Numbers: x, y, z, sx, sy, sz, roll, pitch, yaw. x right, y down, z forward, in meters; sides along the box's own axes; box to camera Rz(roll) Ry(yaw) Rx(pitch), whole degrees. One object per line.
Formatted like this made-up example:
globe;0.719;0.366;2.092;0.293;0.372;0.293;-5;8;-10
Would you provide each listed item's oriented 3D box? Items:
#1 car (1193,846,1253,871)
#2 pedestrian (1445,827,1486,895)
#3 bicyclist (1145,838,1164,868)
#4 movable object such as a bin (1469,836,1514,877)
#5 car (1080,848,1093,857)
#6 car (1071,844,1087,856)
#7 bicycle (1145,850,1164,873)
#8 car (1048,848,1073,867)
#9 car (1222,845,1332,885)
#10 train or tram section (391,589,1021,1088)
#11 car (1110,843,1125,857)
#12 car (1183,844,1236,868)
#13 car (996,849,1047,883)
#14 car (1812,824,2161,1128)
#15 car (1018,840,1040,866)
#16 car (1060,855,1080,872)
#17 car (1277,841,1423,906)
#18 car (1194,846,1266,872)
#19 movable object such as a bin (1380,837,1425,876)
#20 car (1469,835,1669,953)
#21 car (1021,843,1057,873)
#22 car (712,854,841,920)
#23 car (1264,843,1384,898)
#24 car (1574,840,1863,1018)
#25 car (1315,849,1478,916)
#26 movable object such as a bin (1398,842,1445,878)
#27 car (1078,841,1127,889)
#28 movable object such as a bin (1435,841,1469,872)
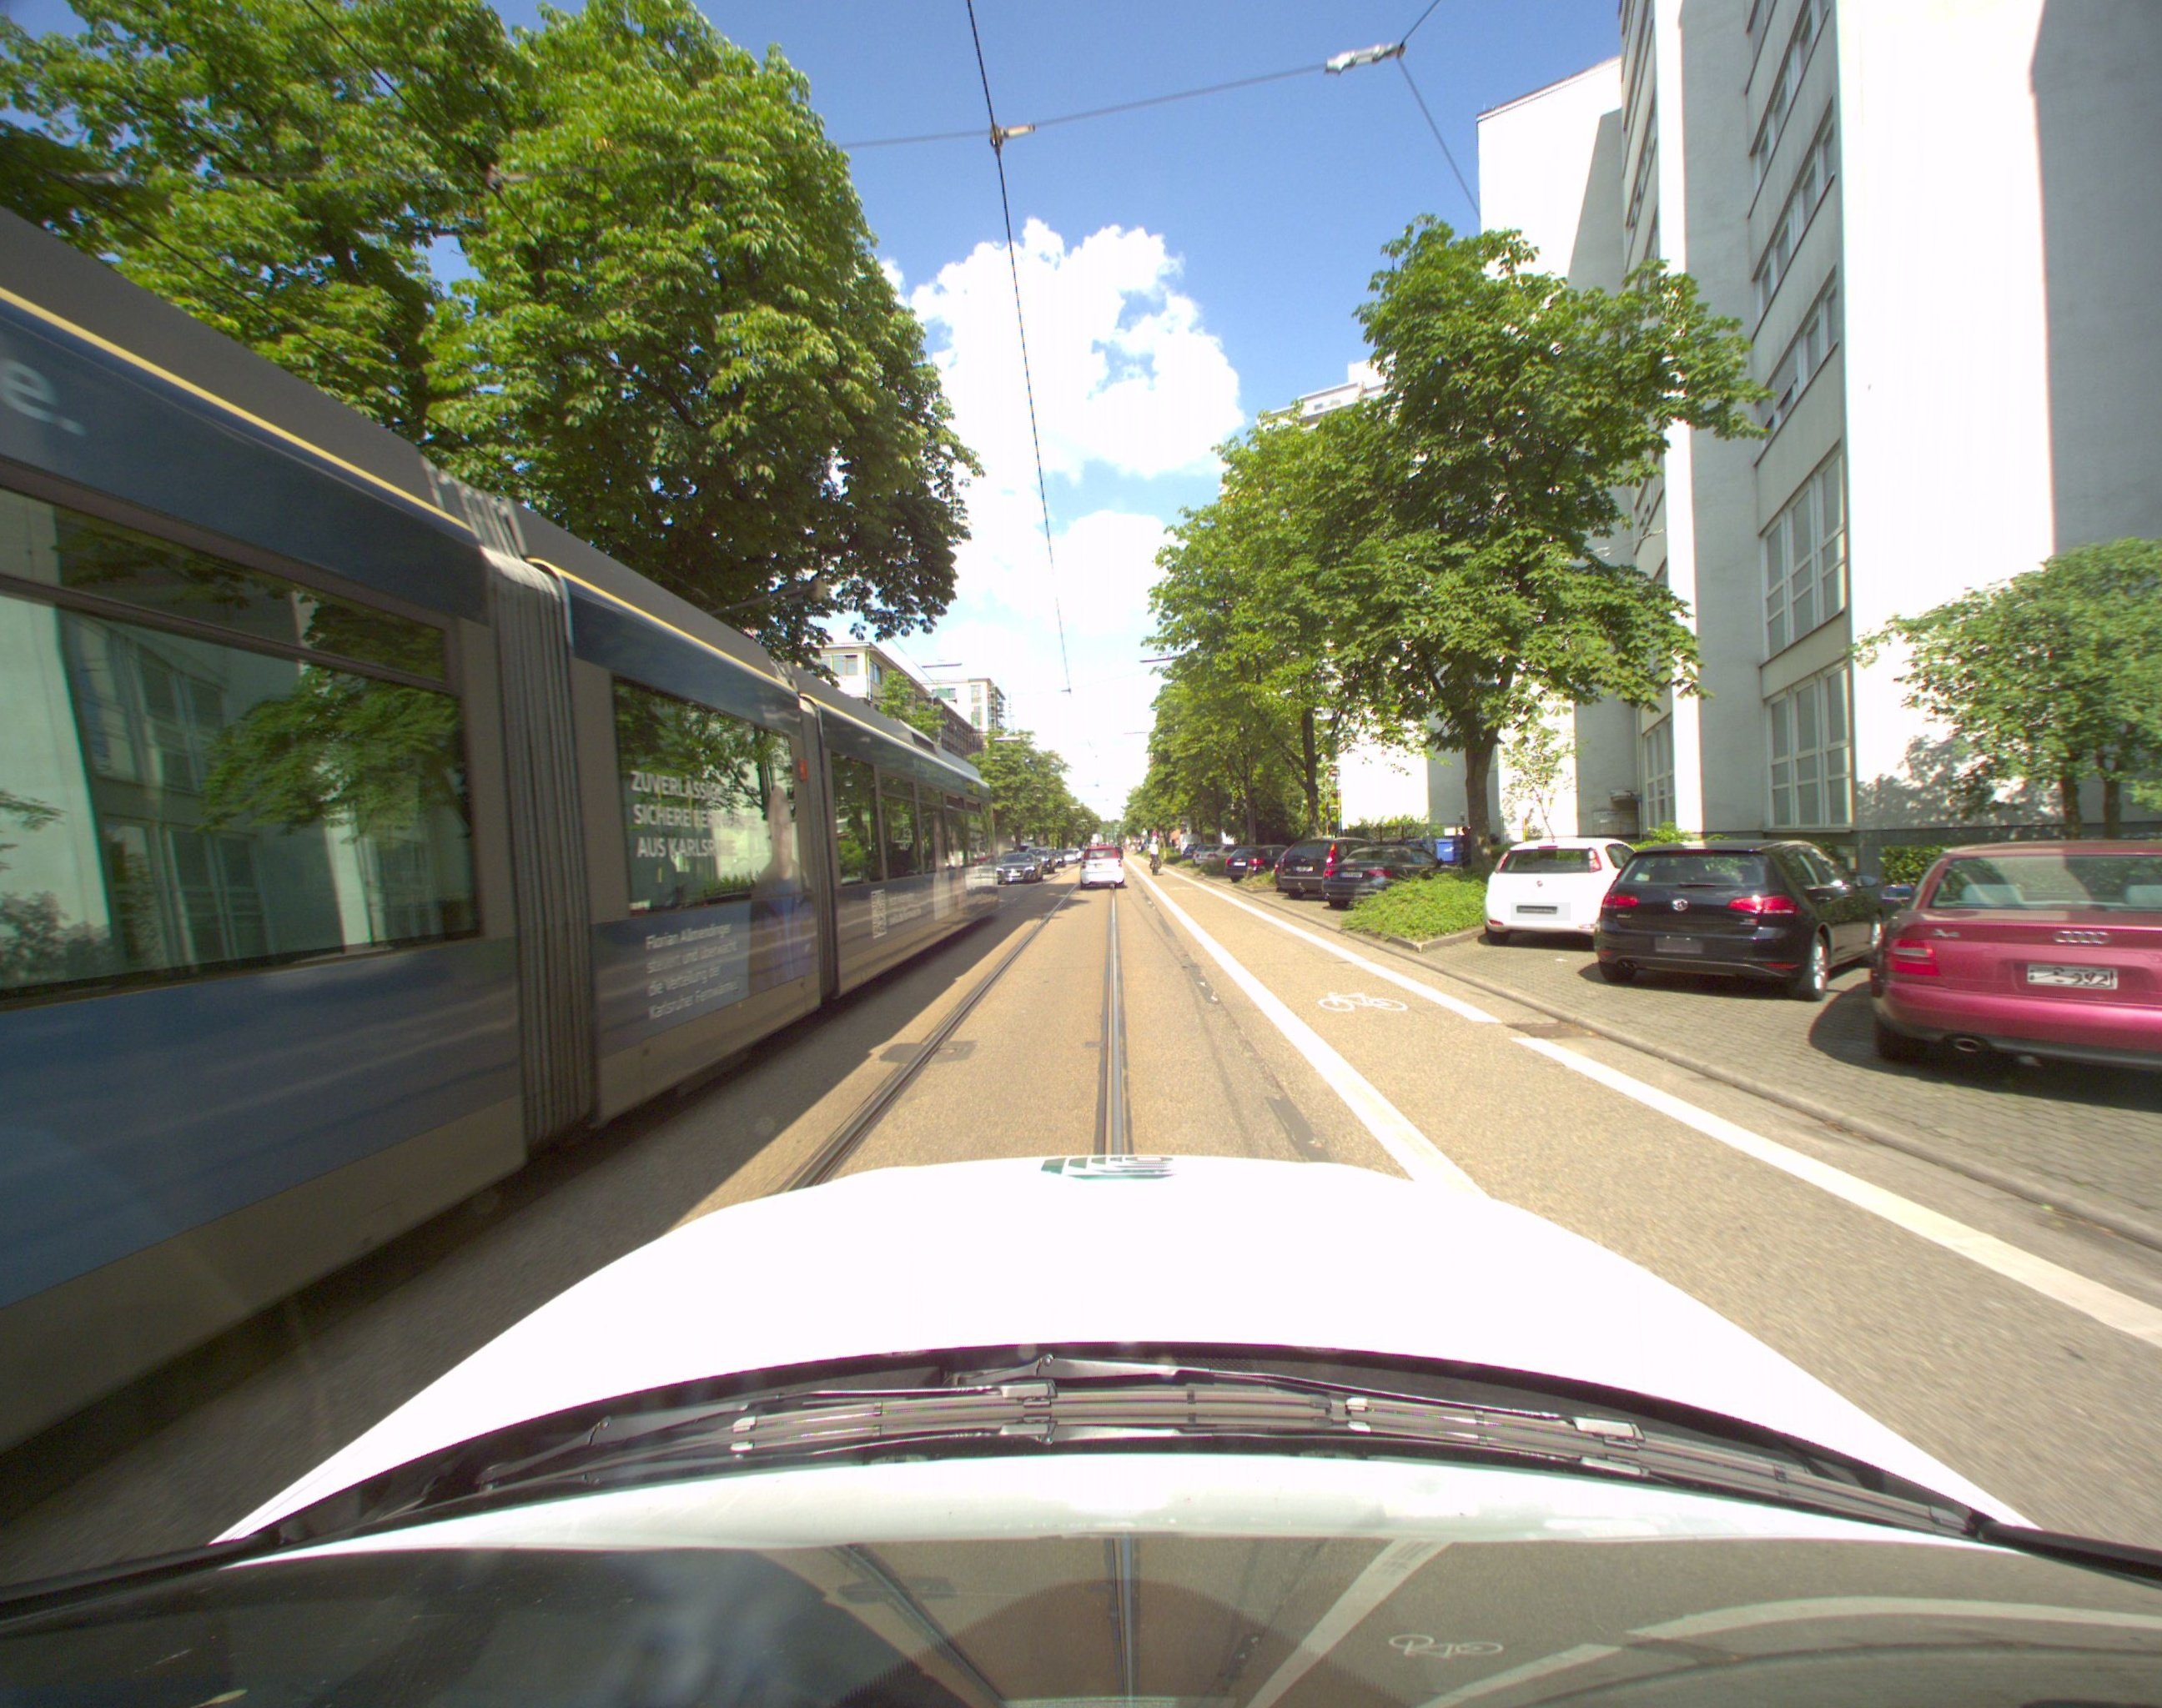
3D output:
car;8.986;0.239;51.386;3.825;1.474;1.634;-1;1;-39
pedestrian;10.931;0.182;23.179;0.756;1.873;1.004;-2;0;8
bicyclist;3.739;-0.048;41.388;0.885;1.528;1.087;0;0;8
movable object such as a bin;15.580;0.076;30.964;1.362;1.447;1.271;-3;0;23
car;0.953;-0.232;129.346;1.792;1.508;4.541;-1;0;4
car;-0.180;-0.465;95.581;1.680;1.405;4.229;-2;0;3
bicycle;3.719;0.386;41.104;0.870;1.126;2.141;0;0;8
car;-1.579;0.232;64.529;1.717;1.376;4.001;-3;0;1
car;7.687;0.406;31.737;4.562;1.442;2.007;0;0;-44
train or tram section;-3.188;-0.109;12.806;2.642;3.356;14.116;-4;0;2
car;4.529;-0.464;101.188;1.659;1.624;3.622;-3;0;2
car;9.178;0.117;58.101;4.023;1.486;1.596;-3;0;-44
car;-2.664;0.518;37.212;1.792;1.388;4.428;-2;0;2
car;6.624;0.559;5.582;4.182;1.423;1.844;-3;0;-41
car;-5.409;-0.112;85.648;1.762;2.639;5.325;0;0;2
car;-1.057;0.915;79.891;1.767;1.416;3.853;-4;0;1
car;7.249;0.451;21.795;4.020;1.574;1.883;-1;0;-40
car;8.866;0.255;48.275;4.262;1.420;1.705;-2;1;-36
movable object such as a bin;13.078;0.092;33.136;1.270;1.539;1.470;-1;0;2
car;7.373;0.476;12.131;4.023;1.461;1.517;-2;0;-44
car;-2.479;0.232;49.091;1.819;1.727;4.392;0;0;1
car;-8.335;0.833;22.814;1.744;1.665;4.722;0;0;1
car;7.565;0.443;25.163;4.098;1.443;1.705;-3;3;-42
car;6.970;0.611;8.749;4.021;1.448;1.679;-2;0;-41
car;7.386;0.575;18.852;4.199;1.349;1.882;-1;0;-43
movable object such as a bin;13.143;0.224;31.452;1.270;1.318;1.326;-1;0;2
car;0.817;0.372;30.411;1.659;1.624;3.622;-2;0;2
movable object such as a bin;17.272;0.101;37.944;1.200;1.338;1.269;-3;0;17
